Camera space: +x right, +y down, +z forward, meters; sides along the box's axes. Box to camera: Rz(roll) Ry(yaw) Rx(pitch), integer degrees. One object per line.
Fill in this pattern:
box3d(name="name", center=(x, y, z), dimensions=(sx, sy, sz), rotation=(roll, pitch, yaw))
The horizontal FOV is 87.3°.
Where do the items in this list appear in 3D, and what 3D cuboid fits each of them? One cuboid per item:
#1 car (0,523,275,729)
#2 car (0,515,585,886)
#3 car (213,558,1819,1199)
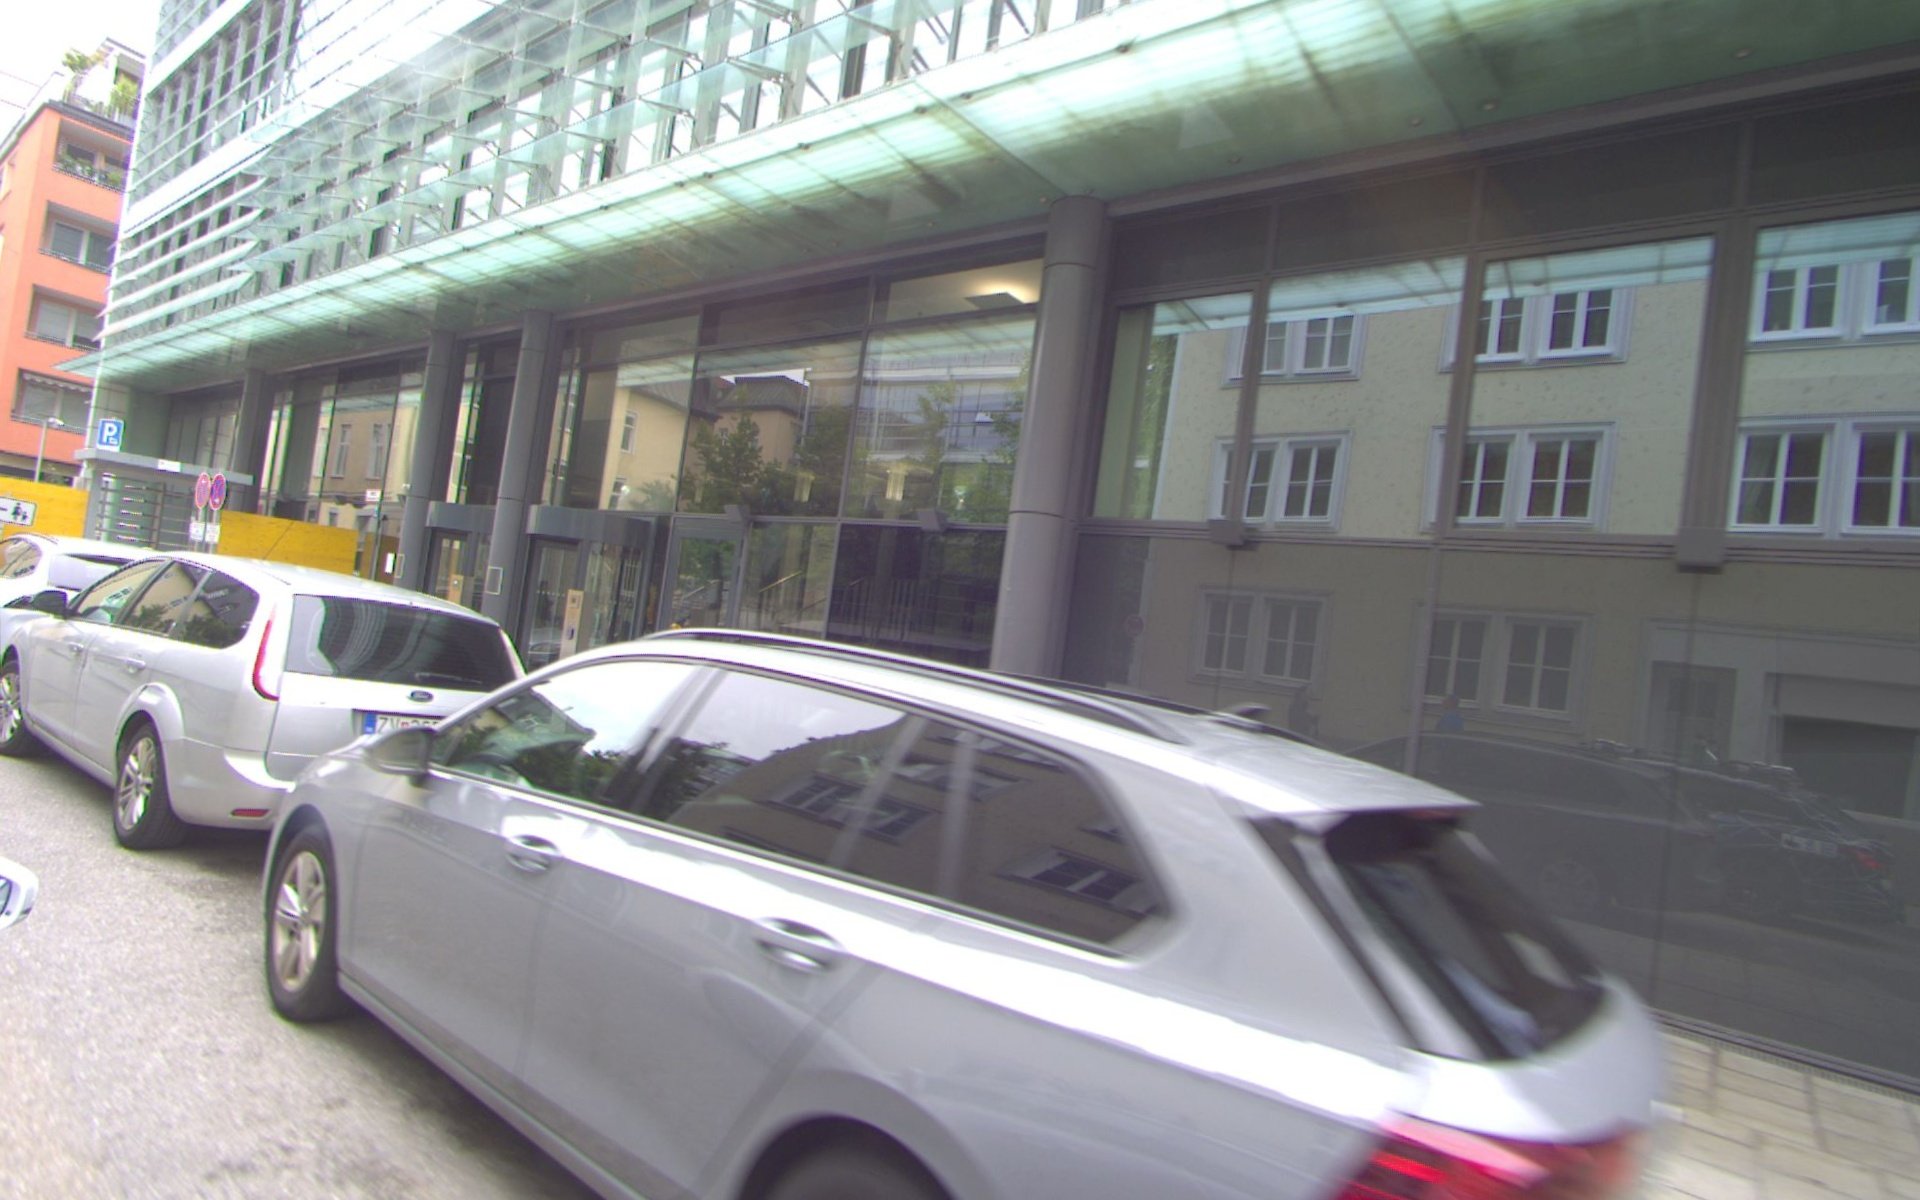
box3d(name="car", center=(-8.342, 0.118, 9.498), dimensions=(4.443, 1.428, 1.710), rotation=(5, -5, 39))
box3d(name="car", center=(-4.431, 0.456, 6.269), dimensions=(4.171, 1.482, 1.711), rotation=(6, -5, 35))
box3d(name="car", center=(-0.402, 0.841, 2.974), dimensions=(4.265, 1.448, 1.709), rotation=(6, -3, 38))
